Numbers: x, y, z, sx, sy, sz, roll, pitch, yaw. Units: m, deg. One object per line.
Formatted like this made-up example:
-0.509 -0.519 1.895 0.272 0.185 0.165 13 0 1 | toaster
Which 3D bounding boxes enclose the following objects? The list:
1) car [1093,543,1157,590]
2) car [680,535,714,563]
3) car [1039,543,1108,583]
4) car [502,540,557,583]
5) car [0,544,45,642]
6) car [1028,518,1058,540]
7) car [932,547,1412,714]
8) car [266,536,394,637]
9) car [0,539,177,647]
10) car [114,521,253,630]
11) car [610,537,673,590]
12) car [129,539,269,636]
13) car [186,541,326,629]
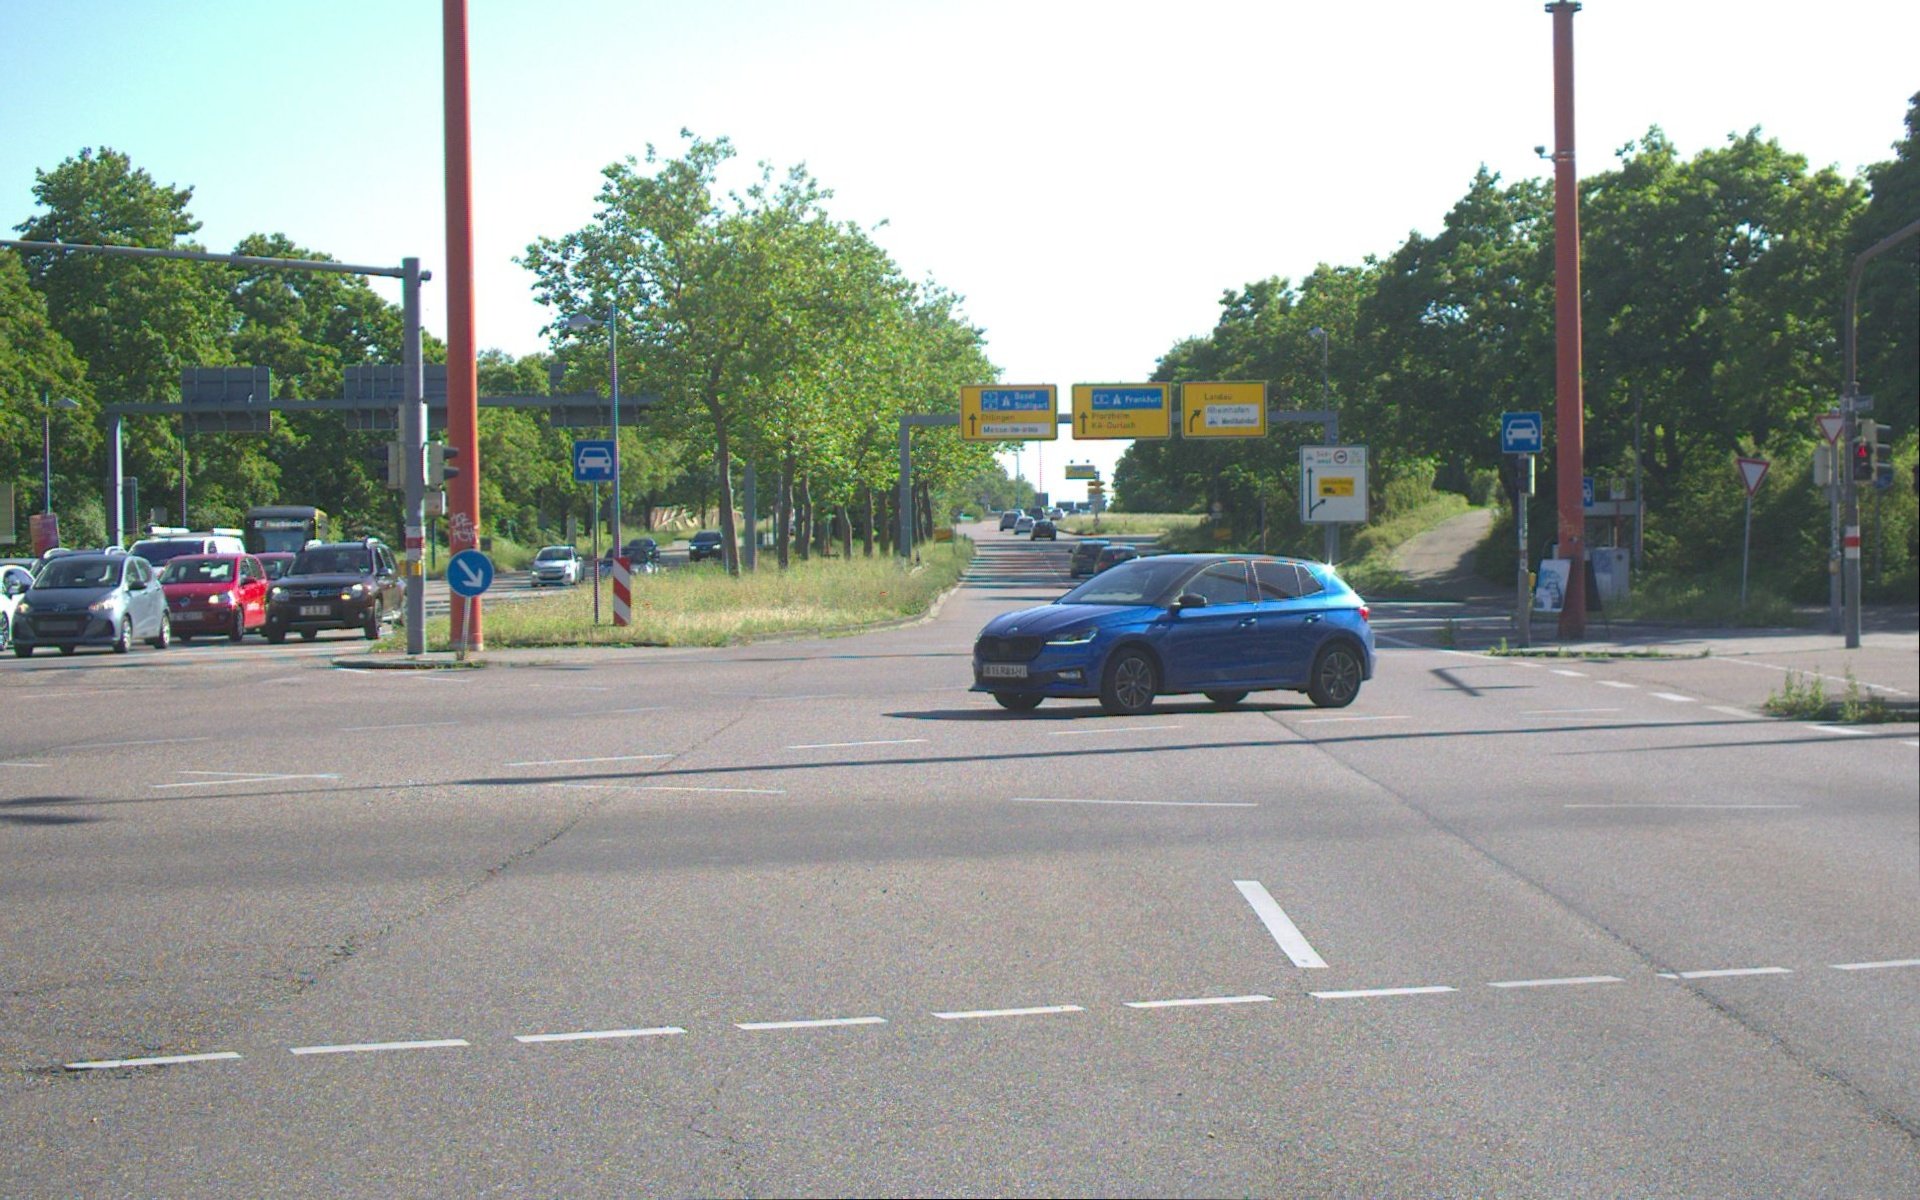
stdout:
5.679 -1.160 118.349 2.159 1.568 4.281 -1 1 2 | car
-14.847 -2.891 194.256 1.876 1.568 4.121 -1 1 -5 | car
4.564 -1.509 138.883 2.158 1.568 4.584 -1 1 -6 | car
-16.428 -1.488 131.384 1.876 1.568 4.121 -1 1 -5 | car
-16.486 -0.121 57.049 1.993 1.568 4.122 -2 1 -8 | car
6.110 -5.248 253.244 2.159 1.568 4.281 -1 1 1 | car
2.018 0.238 32.112 4.268 1.423 1.884 -1 1 -37 | car
-10.245 -0.248 56.161 1.876 1.568 4.122 -1 1 -8 | car
-13.251 -0.135 52.180 1.993 1.568 4.121 -1 1 -3 | car
-16.112 -0.532 71.522 2.062 2.185 4.379 -1 1 -2 | car
-9.728 -1.120 105.157 1.876 1.568 4.121 -1 1 -5 | car
-12.897 -0.238 58.481 1.993 1.568 4.122 -1 1 -8 | car
-13.114 -0.299 64.260 1.993 1.568 4.121 -1 1 -4 | car
